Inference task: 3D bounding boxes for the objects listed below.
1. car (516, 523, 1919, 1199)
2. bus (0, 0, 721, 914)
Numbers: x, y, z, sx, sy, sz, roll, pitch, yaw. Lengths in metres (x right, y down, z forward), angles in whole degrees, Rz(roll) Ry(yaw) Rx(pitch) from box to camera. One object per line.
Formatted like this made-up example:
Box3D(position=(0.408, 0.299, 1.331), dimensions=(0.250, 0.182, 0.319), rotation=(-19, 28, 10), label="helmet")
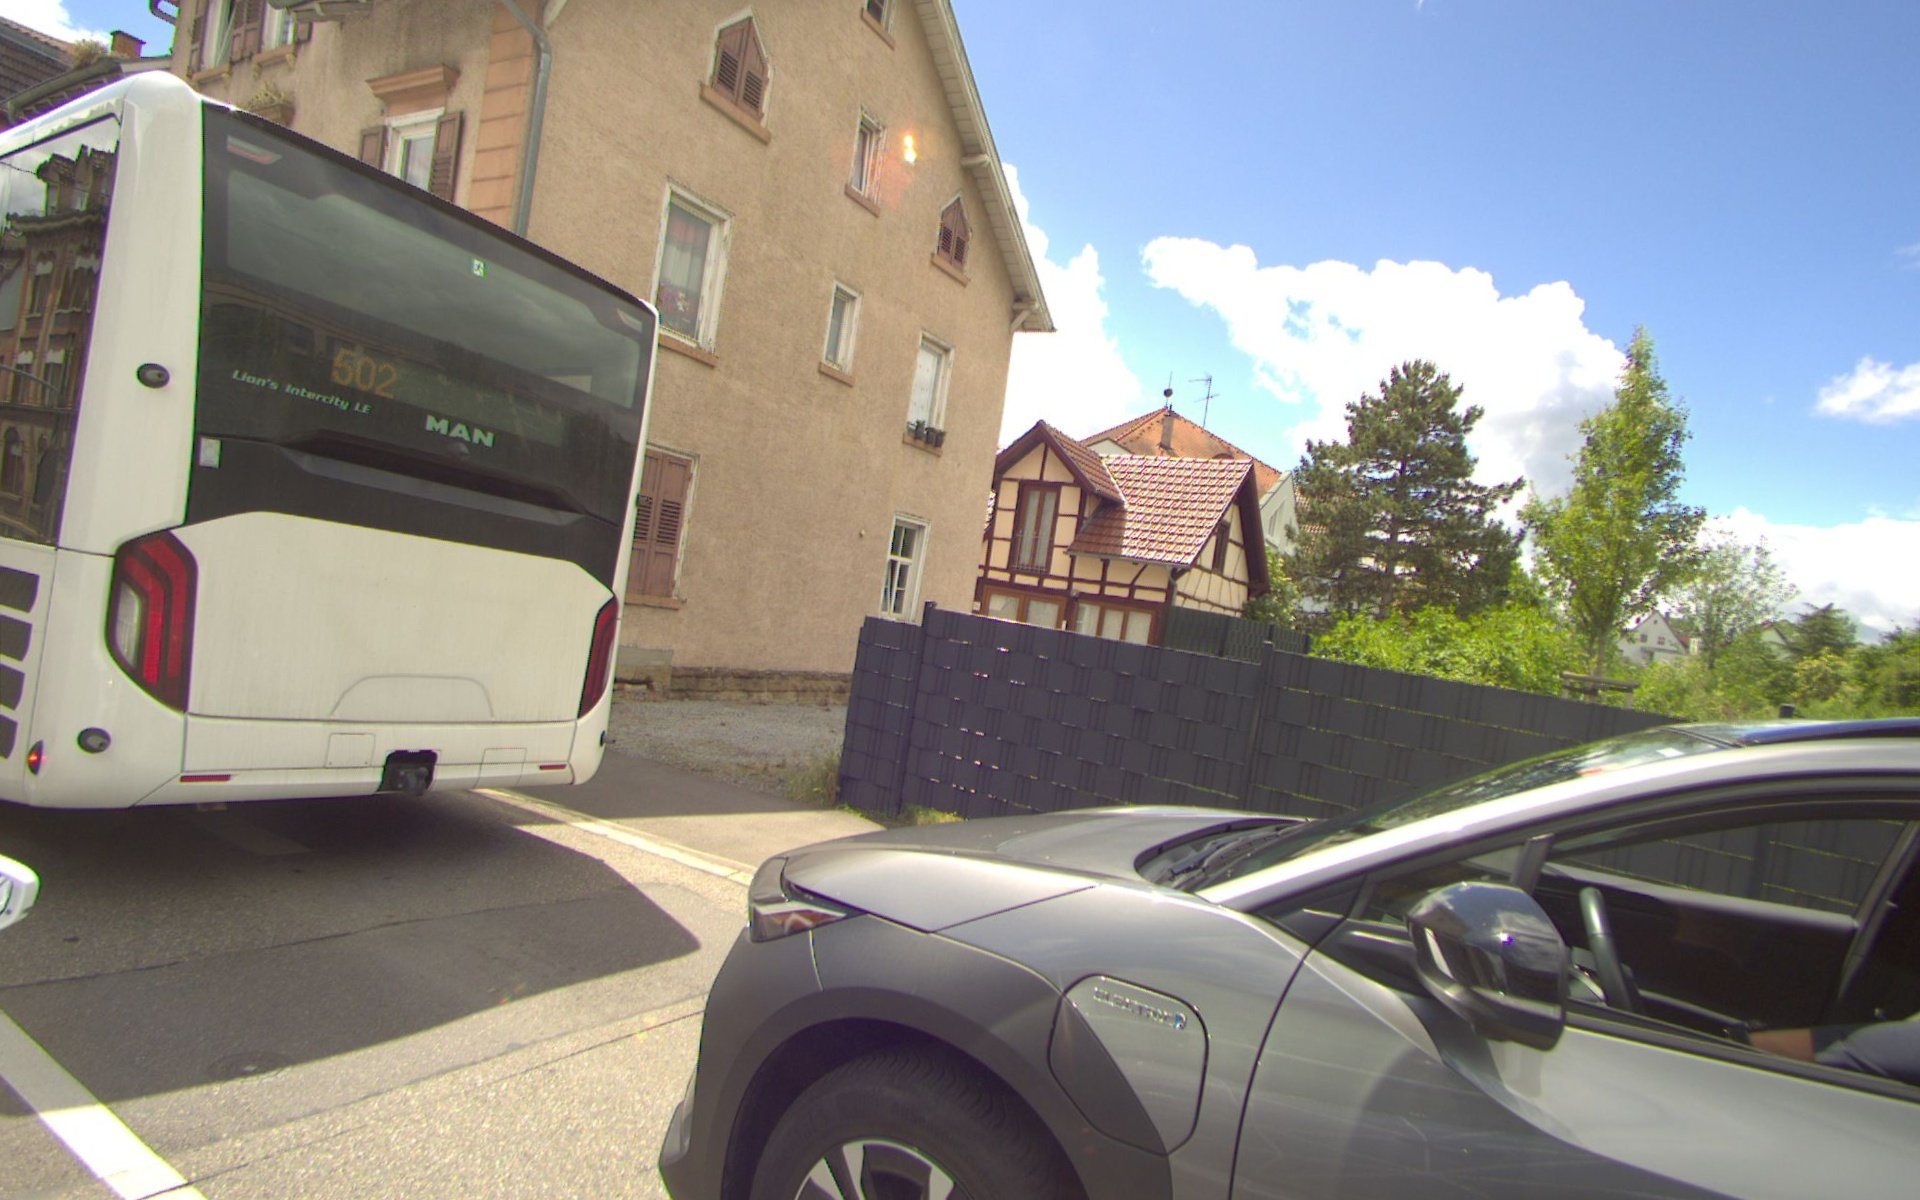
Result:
Box3D(position=(1.528, 0.961, 1.877), dimensions=(4.504, 1.648, 1.997), rotation=(7, -1, 31), label="car")
Box3D(position=(-7.549, -1.110, 7.883), dimensions=(12.281, 3.551, 2.910), rotation=(6, -2, 32), label="bus")
